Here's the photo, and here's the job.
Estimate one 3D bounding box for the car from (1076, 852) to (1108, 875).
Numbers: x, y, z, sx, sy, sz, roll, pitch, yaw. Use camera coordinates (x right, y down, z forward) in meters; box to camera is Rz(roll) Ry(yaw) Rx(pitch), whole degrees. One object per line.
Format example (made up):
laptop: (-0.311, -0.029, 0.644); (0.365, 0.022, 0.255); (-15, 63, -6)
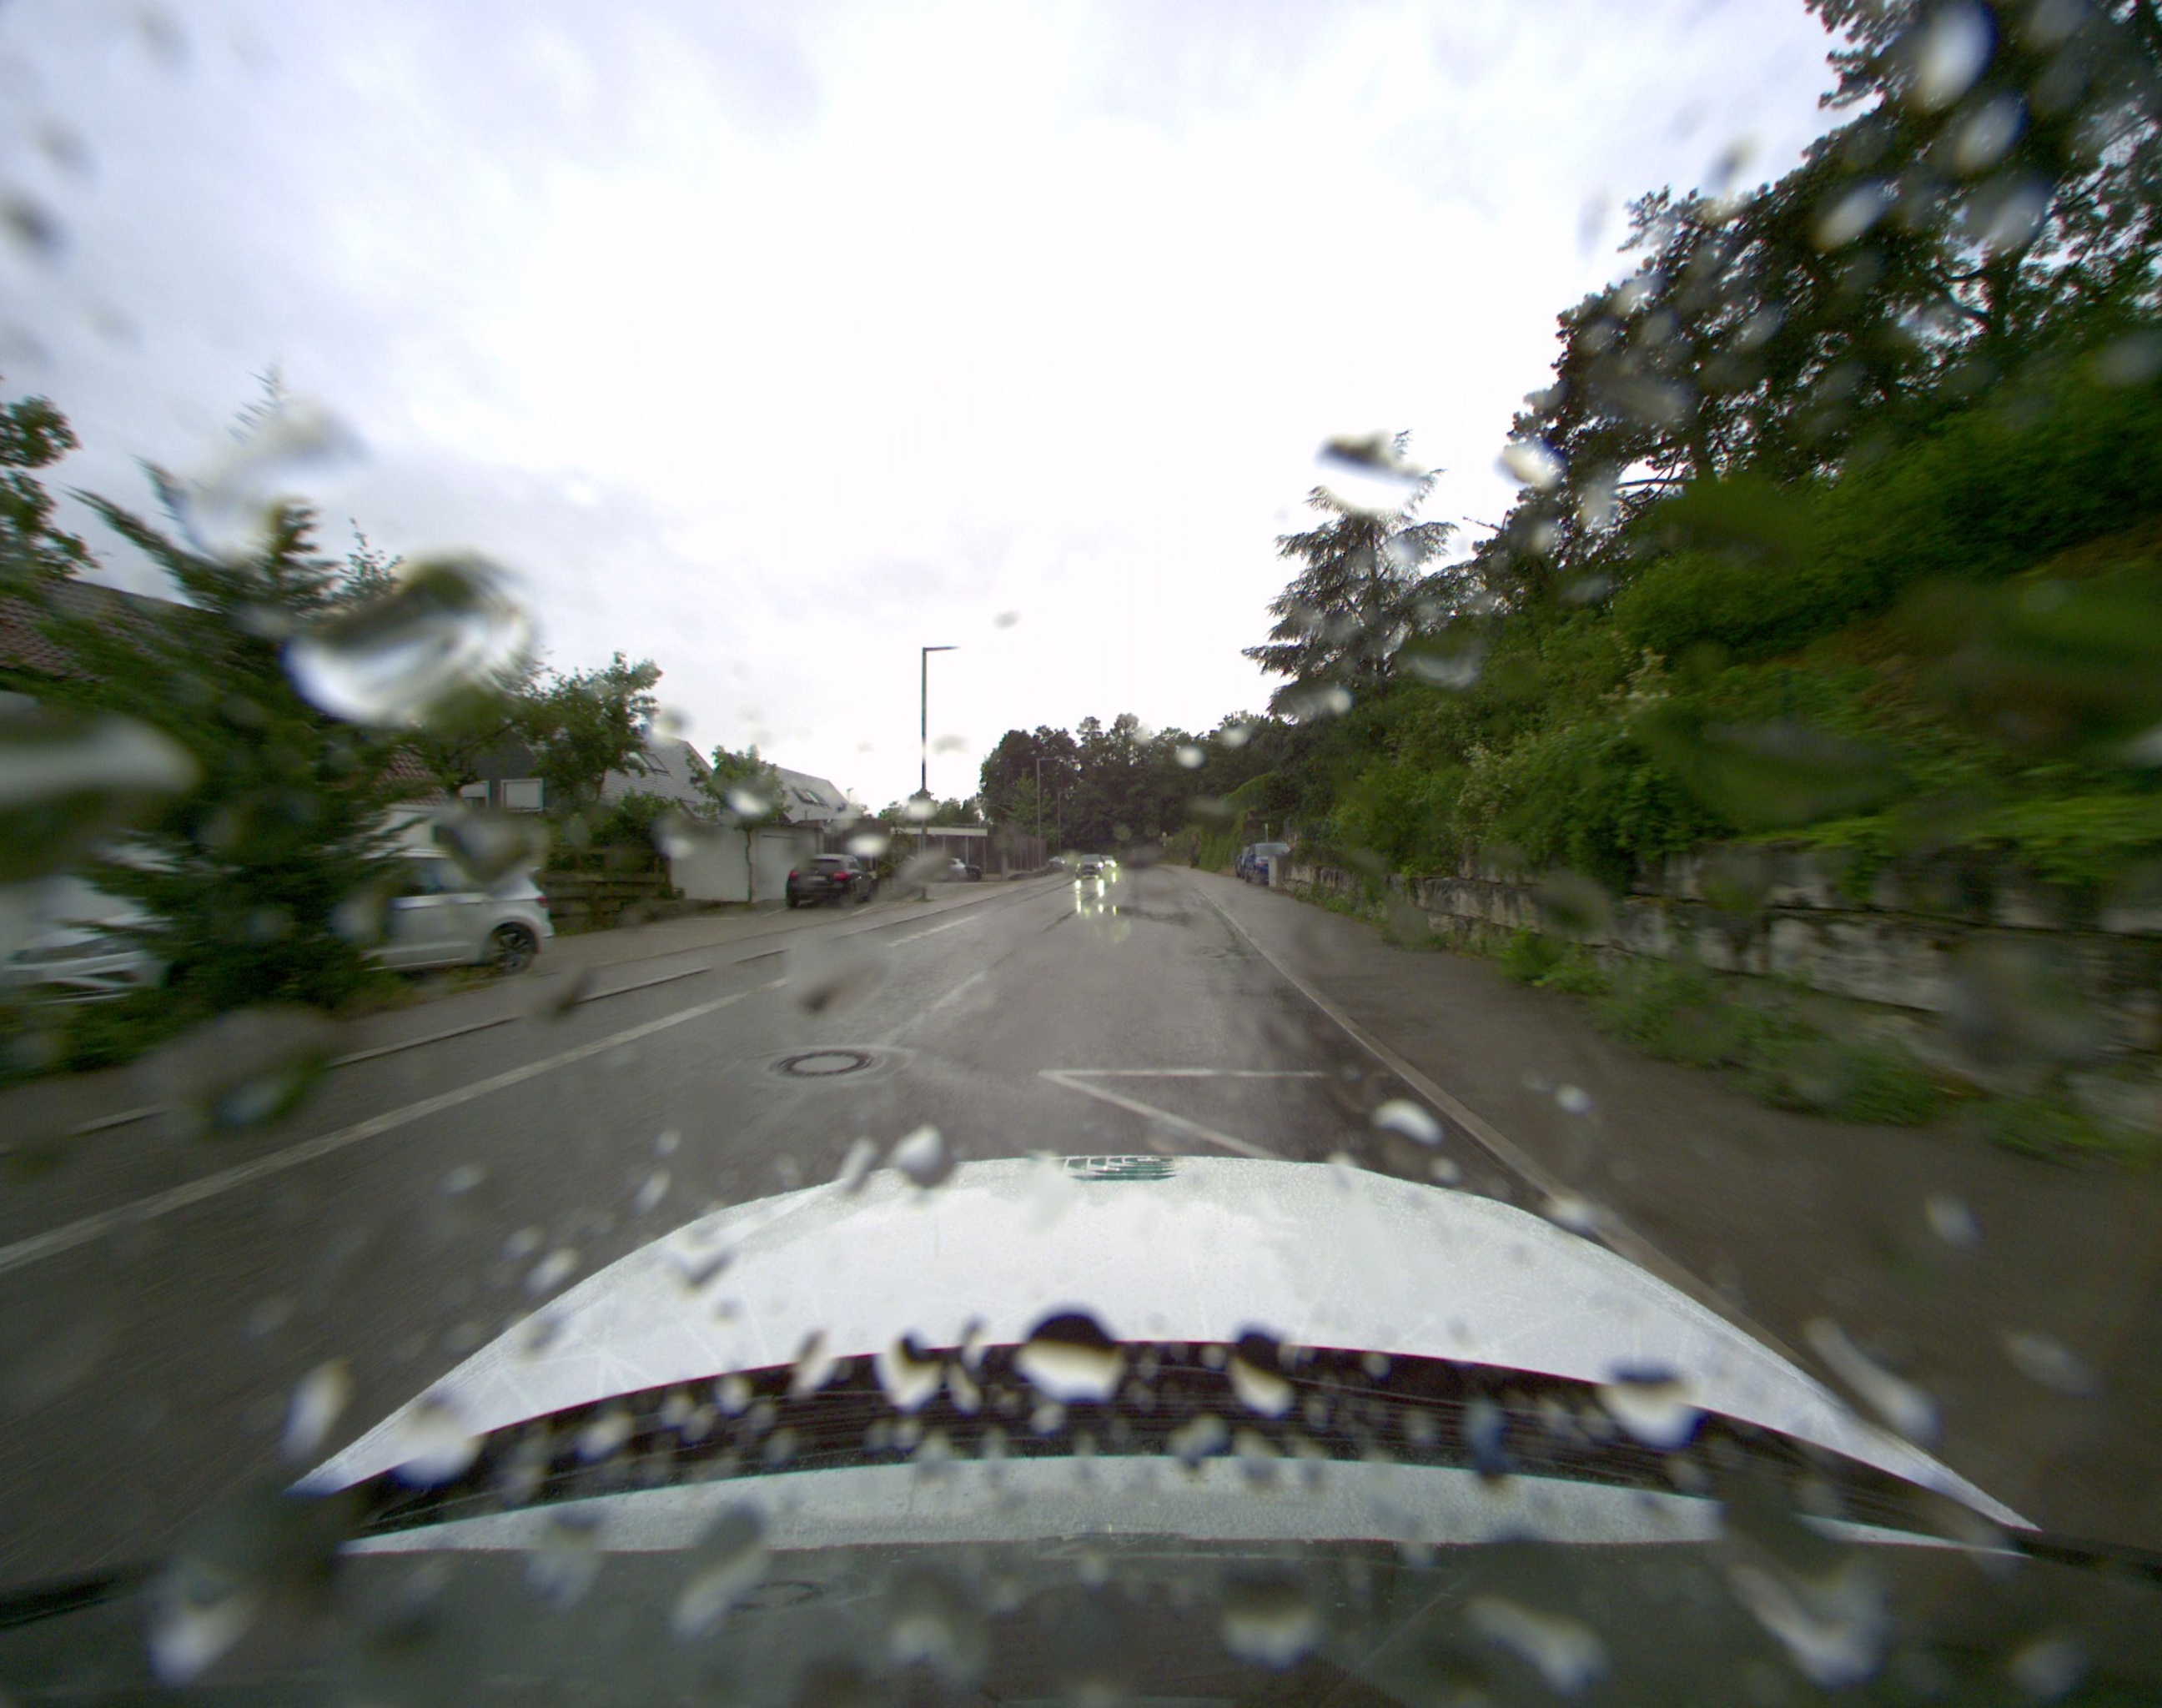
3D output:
car: (0.757, 0.599, 53.089); (1.842, 1.469, 3.705); (0, 0, 5)

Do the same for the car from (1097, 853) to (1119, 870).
car: (2.402, 0.665, 71.150); (1.840, 1.460, 4.270); (0, 0, 2)

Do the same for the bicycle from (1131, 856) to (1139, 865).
bicycle: (6.698, 0.834, 101.677); (0.528, 1.085, 1.612); (0, 0, -16)

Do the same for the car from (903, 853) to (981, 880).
car: (-8.374, 0.728, 49.140); (4.306, 1.601, 1.820); (0, 0, -30)

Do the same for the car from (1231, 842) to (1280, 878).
car: (8.462, 0.268, 39.792); (1.801, 1.563, 4.016); (-4, 0, 5)

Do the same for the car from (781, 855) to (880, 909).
car: (-7.166, 0.744, 23.742); (1.830, 1.405, 4.253); (0, 0, -4)

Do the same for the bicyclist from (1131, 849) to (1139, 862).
bicyclist: (6.722, 0.163, 101.572); (0.722, 1.615, 0.900); (0, 0, -16)

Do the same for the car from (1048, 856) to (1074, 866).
car: (-2.456, 0.852, 100.226); (1.743, 1.234, 3.774); (0, 0, -29)

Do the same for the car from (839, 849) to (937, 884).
car: (-9.075, 0.560, 38.460); (4.078, 1.574, 1.920); (0, 0, -38)

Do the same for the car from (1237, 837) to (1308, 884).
car: (7.851, 0.266, 33.809); (1.985, 1.670, 4.548); (-4, 0, 3)

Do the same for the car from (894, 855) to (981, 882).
car: (-8.112, 0.810, 46.110); (4.552, 1.442, 1.742); (1, -1, -35)

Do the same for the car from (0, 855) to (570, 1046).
car: (-8.330, 0.802, 9.033); (1.691, 1.553, 4.410); (-1, 0, 19)
